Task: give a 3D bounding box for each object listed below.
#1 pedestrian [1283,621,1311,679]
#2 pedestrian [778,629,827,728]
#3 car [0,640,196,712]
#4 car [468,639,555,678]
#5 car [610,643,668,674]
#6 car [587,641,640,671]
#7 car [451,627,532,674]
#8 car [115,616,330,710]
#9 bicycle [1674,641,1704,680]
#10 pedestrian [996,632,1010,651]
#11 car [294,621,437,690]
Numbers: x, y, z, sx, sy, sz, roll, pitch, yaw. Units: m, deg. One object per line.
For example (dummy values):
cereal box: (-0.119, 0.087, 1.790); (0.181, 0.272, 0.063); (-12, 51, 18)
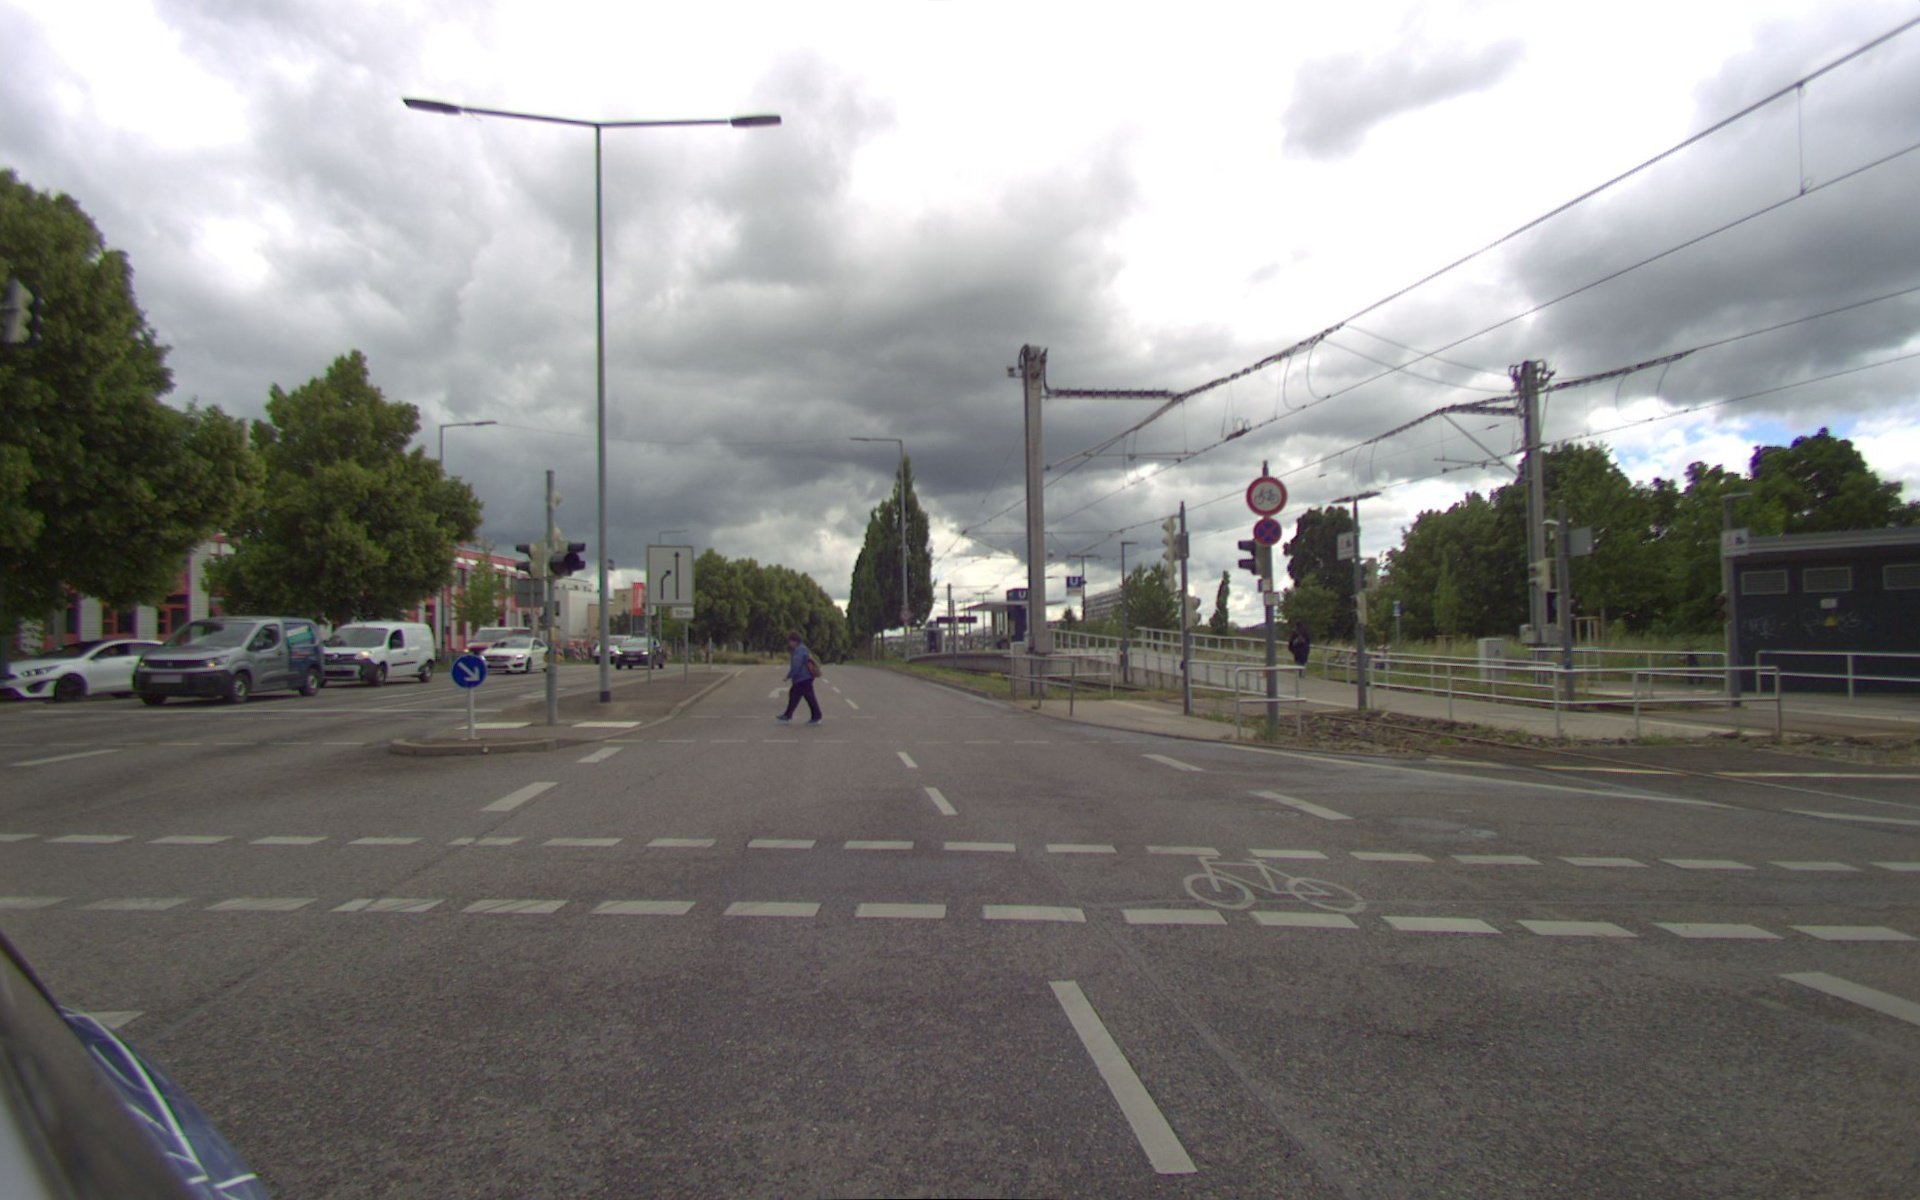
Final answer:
pedestrian: (9.359, 1.376, 28.110); (0.555, 1.584, 0.546); (0, 0, -7)
pedestrian: (-2.513, 1.243, 16.199); (0.705, 1.542, 0.671); (0, -2, -1)
car: (-20.226, 1.682, 23.149); (1.813, 1.431, 4.505); (-2, -2, 6)
car: (-17.326, 2.301, 39.313); (1.787, 1.351, 4.226); (0, -6, -5)
car: (-15.371, 2.839, 48.632); (1.787, 1.351, 4.226); (0, -6, -5)
car: (-22.943, 3.689, 67.270); (1.923, 1.920, 5.240); (0, -2, -3)
car: (-21.406, 2.373, 46.435); (2.150, 1.920, 4.461); (1, -6, -8)
car: (-15.464, 1.294, 21.534); (1.787, 1.794, 4.227); (0, -2, -6)
bicycle: (21.929, 1.806, 30.449); (0.677, 1.114, 2.229); (-1, -2, 36)
pedestrian: (2.680, 2.584, 63.604); (0.739, 1.184, 0.839); (0, -2, -7)
car: (-16.780, 1.585, 28.856); (1.786, 1.806, 4.703); (0, -3, -7)
